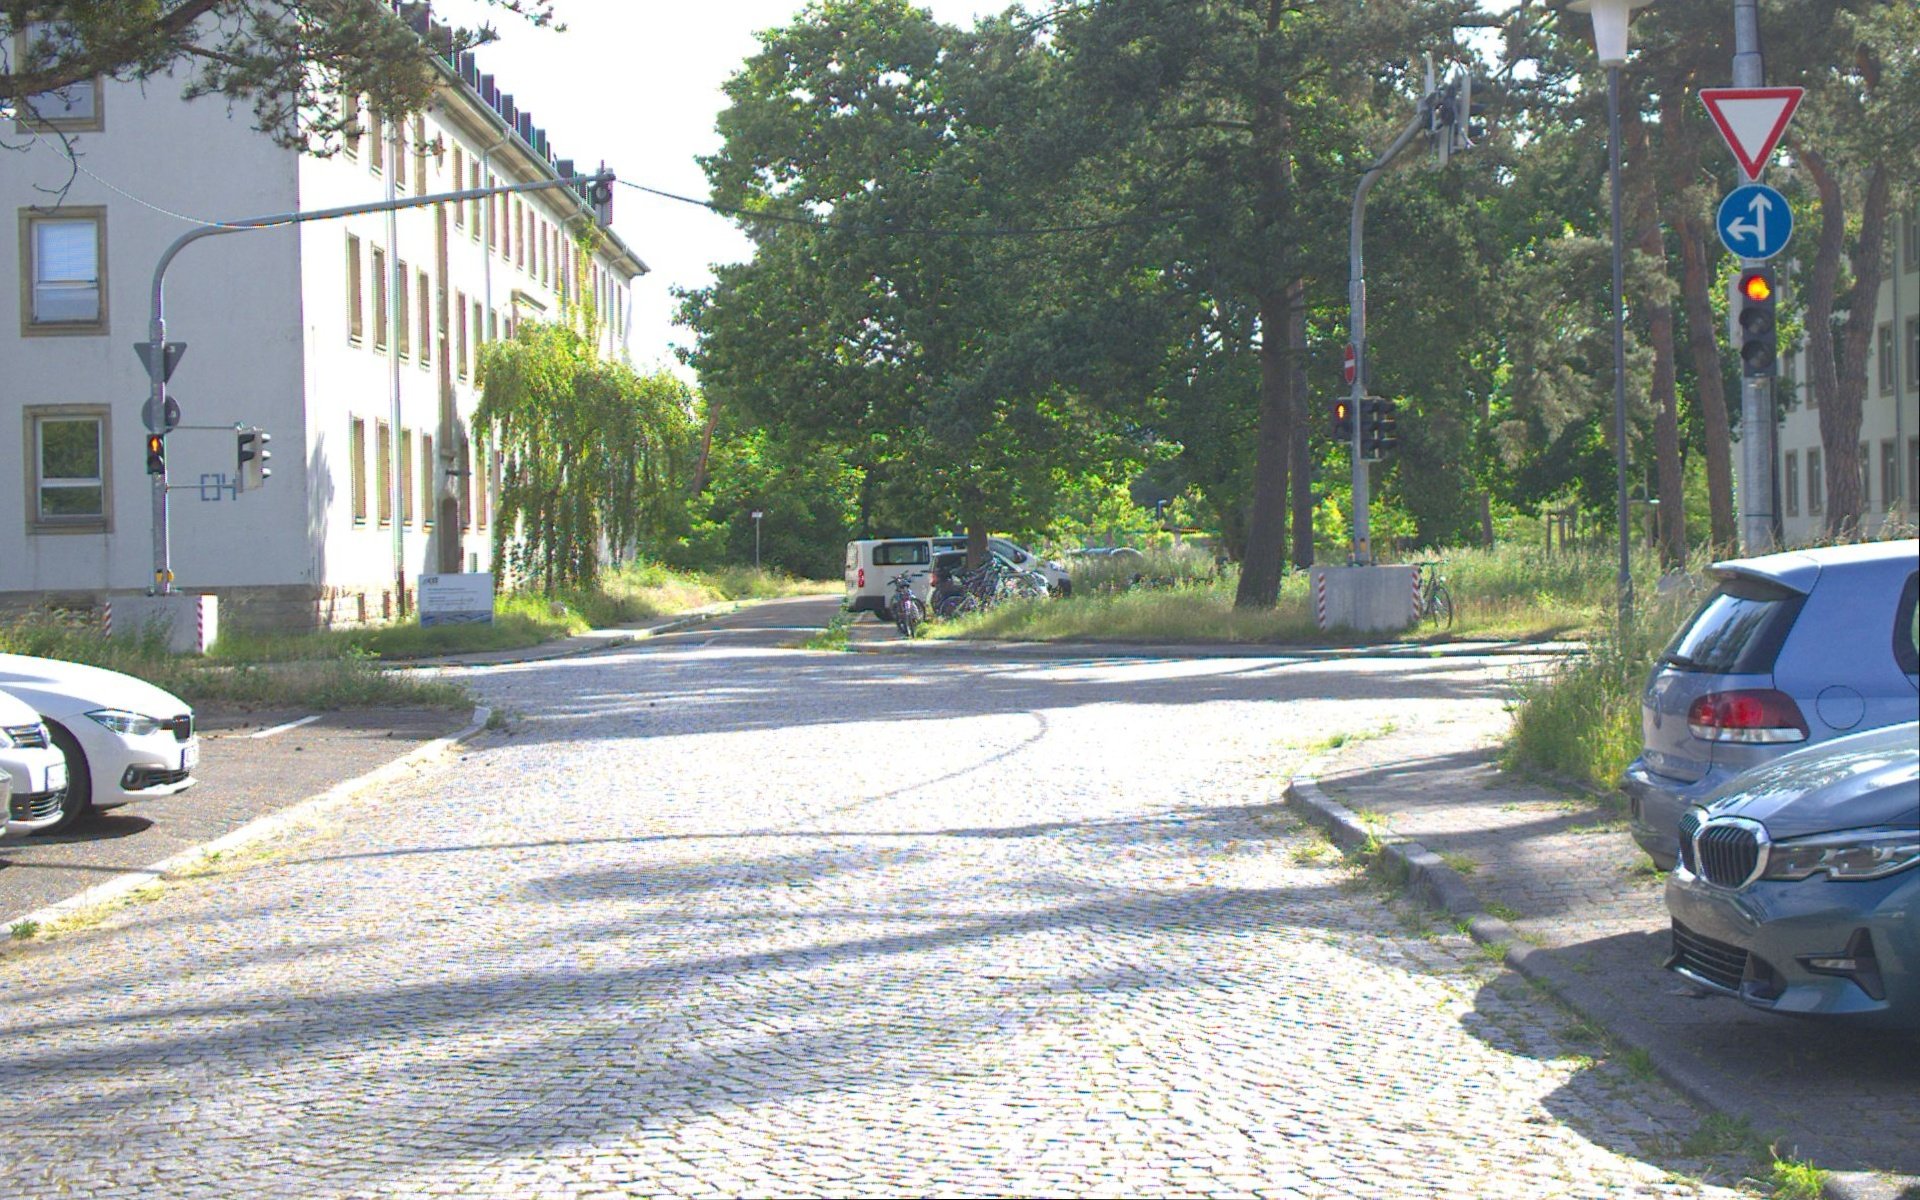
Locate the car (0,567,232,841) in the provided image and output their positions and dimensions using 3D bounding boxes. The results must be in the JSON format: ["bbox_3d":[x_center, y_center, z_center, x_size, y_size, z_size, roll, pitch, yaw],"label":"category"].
[{"bbox_3d":[-6.536,0.542,19.816,4.333,1.463,1.831,1,1,-3],"label":"car"}]

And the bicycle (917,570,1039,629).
[{"bbox_3d":[0.319,-0.010,61.671,2.109,1.007,0.621,1,0,-8],"label":"bicycle"}]

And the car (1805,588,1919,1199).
[{"bbox_3d":[4.254,0.612,7.305,4.432,1.410,1.781,-3,1,0],"label":"car"}]

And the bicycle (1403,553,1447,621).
[{"bbox_3d":[6.696,-0.190,49.569,0.300,0.957,1.586,1,0,-4],"label":"bicycle"}]

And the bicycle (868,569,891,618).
[{"bbox_3d":[-1.676,-0.135,71.427,0.417,1.007,1.483,1,0,0],"label":"bicycle"}]

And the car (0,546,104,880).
[{"bbox_3d":[-6.599,0.499,17.444,4.080,1.588,1.886,1,1,-3],"label":"car"}]

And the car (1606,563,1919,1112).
[{"bbox_3d":[4.341,0.552,10.020,4.559,1.410,1.637,-3,1,0],"label":"car"}]

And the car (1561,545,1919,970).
[{"bbox_3d":[4.345,0.482,12.781,3.882,1.410,1.637,-3,1,0],"label":"car"}]

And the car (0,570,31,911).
[{"bbox_3d":[-6.138,0.592,14.483,3.986,1.475,1.803,1,1,-3],"label":"car"}]

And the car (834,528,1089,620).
[{"bbox_3d":[0.031,-0.593,79.728,5.520,2.007,2.001,1,0,-18],"label":"car"}]

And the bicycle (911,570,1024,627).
[{"bbox_3d":[0.135,-0.022,63.384,2.004,1.007,0.632,1,0,-8],"label":"bicycle"}]

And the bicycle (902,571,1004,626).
[{"bbox_3d":[-0.134,-0.036,65.140,1.837,1.007,0.636,1,0,-8],"label":"bicycle"}]

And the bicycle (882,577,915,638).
[{"bbox_3d":[-1.042,0.126,57.917,0.467,1.007,1.586,1,0,-4],"label":"bicycle"}]

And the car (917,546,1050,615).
[{"bbox_3d":[0.504,-0.430,76.143,2.781,1.462,1.671,1,0,-5],"label":"car"}]
